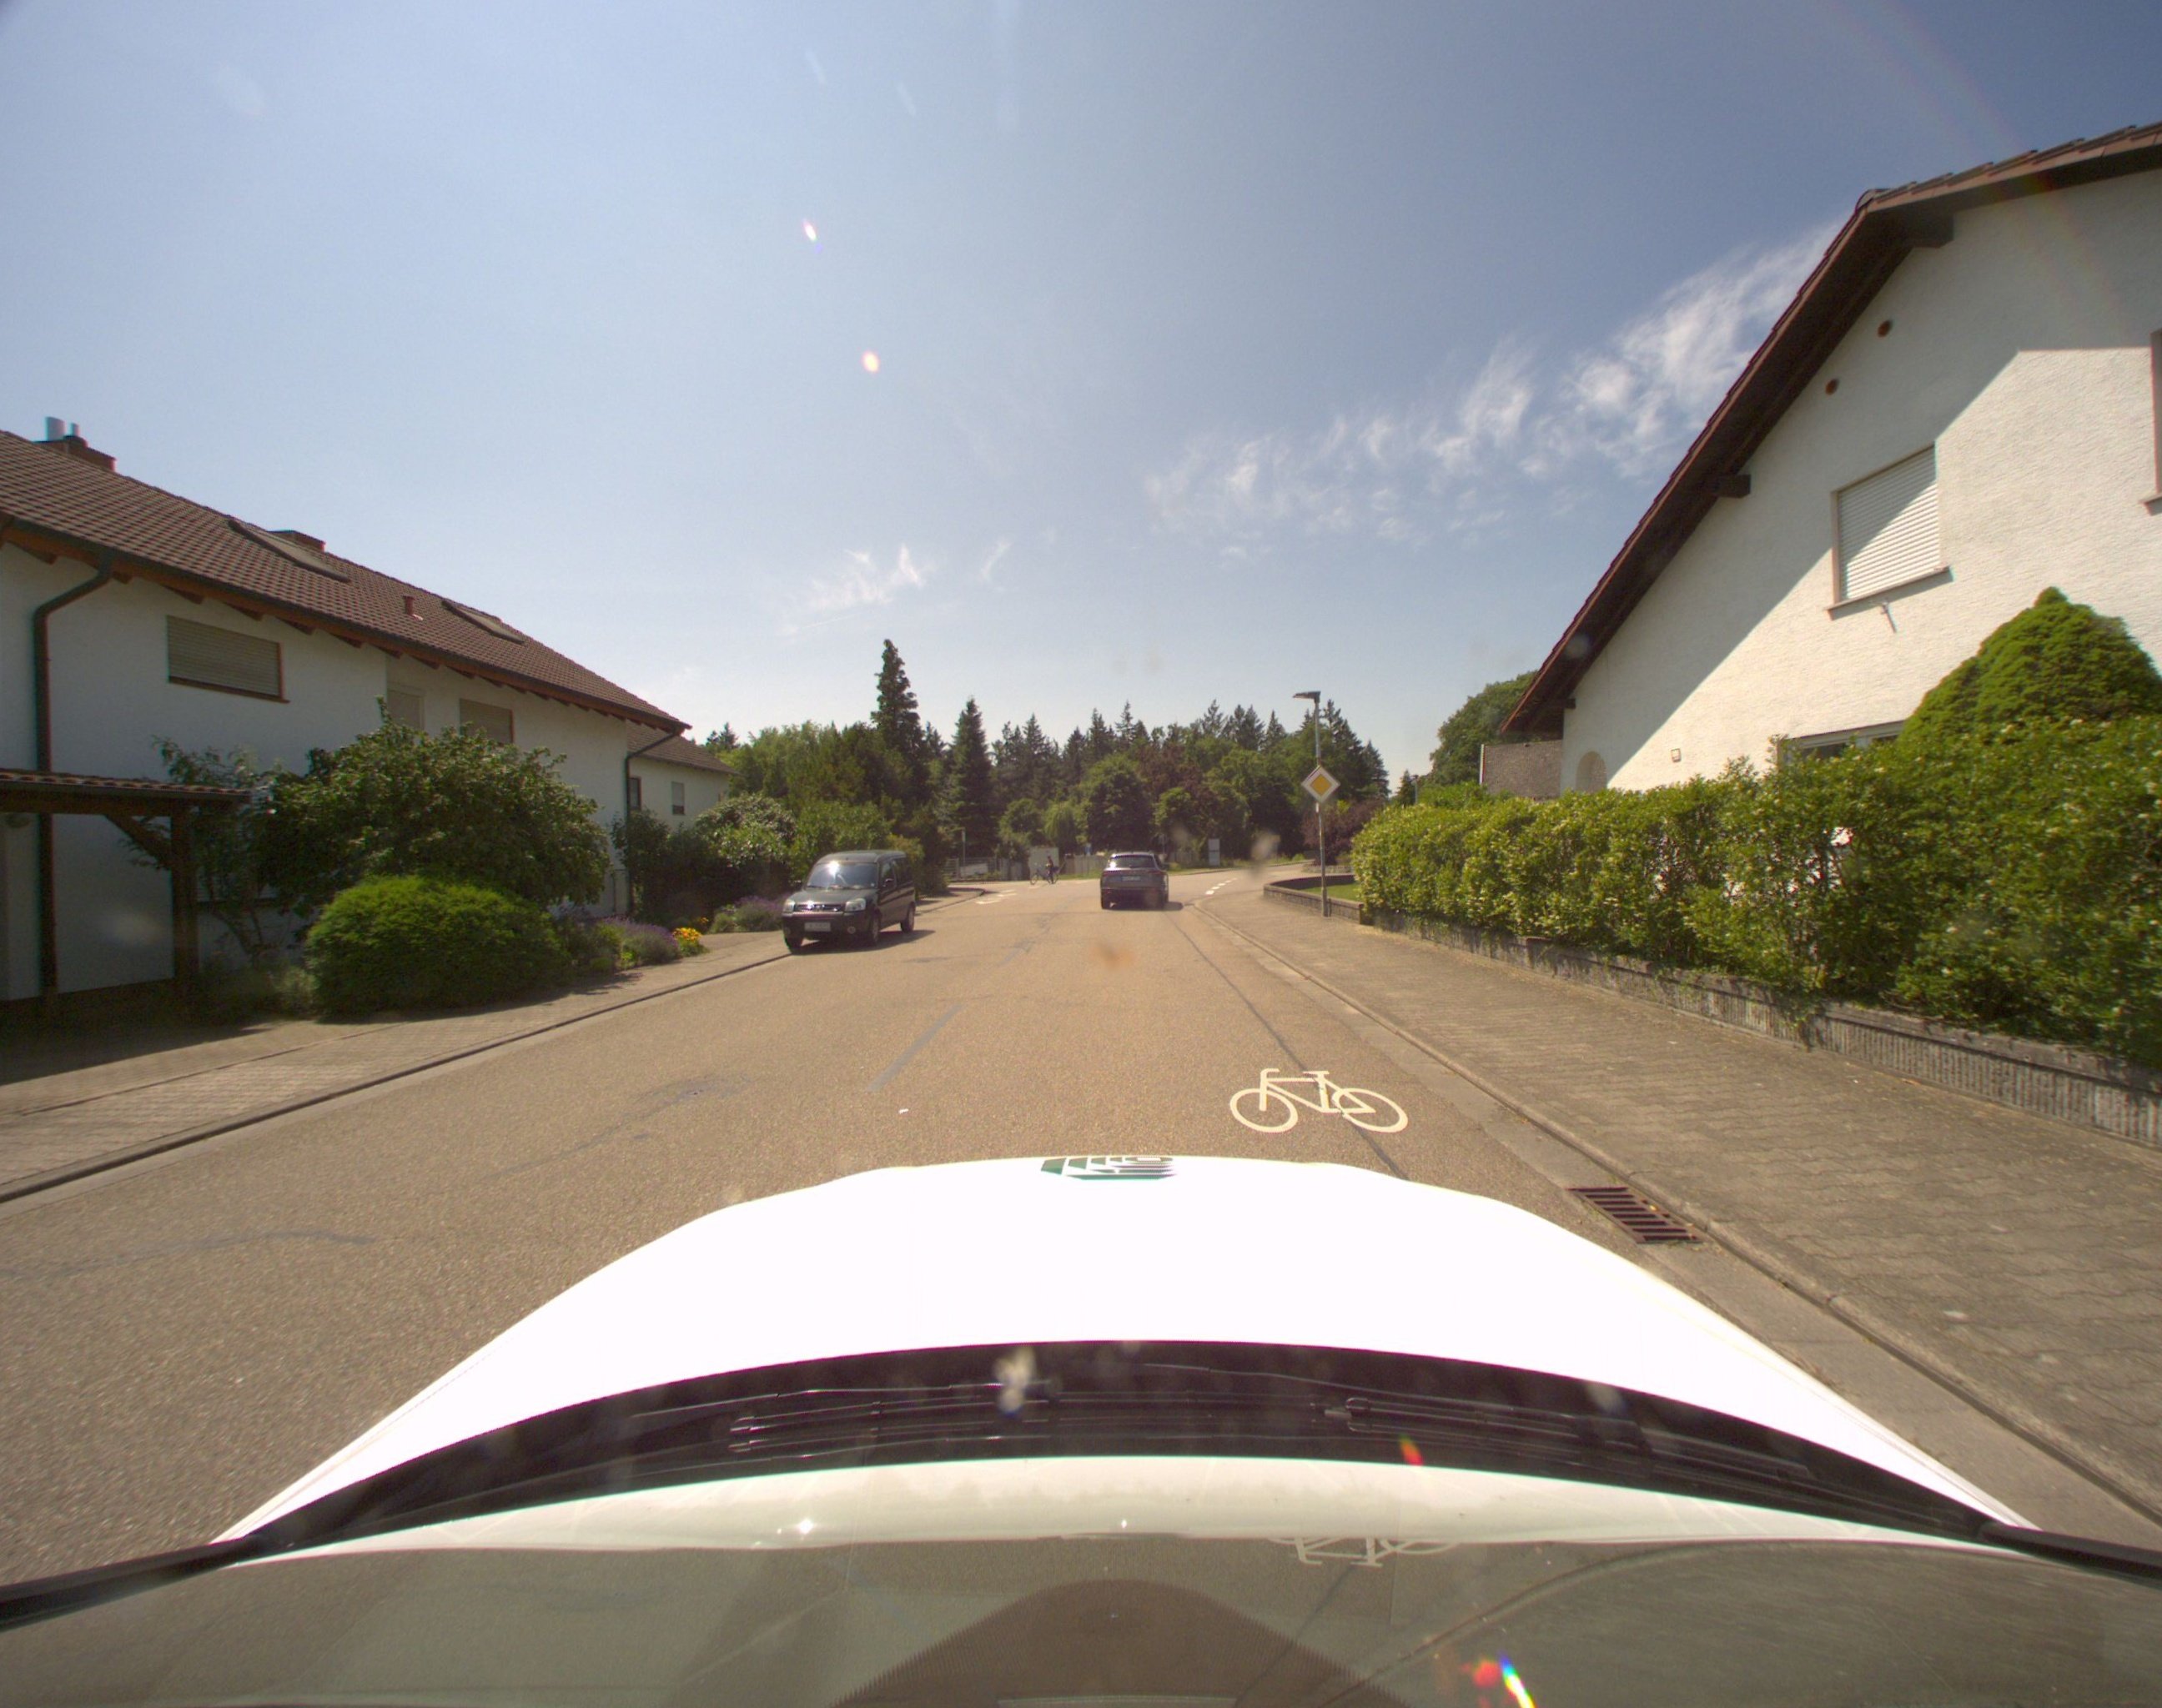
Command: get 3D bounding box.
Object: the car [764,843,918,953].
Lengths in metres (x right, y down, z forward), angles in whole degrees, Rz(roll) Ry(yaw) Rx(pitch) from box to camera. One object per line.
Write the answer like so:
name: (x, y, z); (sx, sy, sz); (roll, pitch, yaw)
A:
car: (-4.589, 0.768, 16.195); (1.712, 1.846, 4.055); (-2, 0, 1)

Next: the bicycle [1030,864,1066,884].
bicycle: (-1.793, 1.075, 44.157); (1.847, 0.964, 0.441); (-2, 0, -17)

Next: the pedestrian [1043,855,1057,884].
pedestrian: (-1.679, 0.817, 43.744); (0.612, 1.501, 0.501); (-2, -1, -19)

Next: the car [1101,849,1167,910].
car: (1.471, 0.692, 23.978); (1.756, 1.618, 4.001); (-1, 0, 1)

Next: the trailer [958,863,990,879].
trailer: (-7.721, 1.248, 59.097); (2.212, 1.084, 1.104); (-2, 0, -6)
